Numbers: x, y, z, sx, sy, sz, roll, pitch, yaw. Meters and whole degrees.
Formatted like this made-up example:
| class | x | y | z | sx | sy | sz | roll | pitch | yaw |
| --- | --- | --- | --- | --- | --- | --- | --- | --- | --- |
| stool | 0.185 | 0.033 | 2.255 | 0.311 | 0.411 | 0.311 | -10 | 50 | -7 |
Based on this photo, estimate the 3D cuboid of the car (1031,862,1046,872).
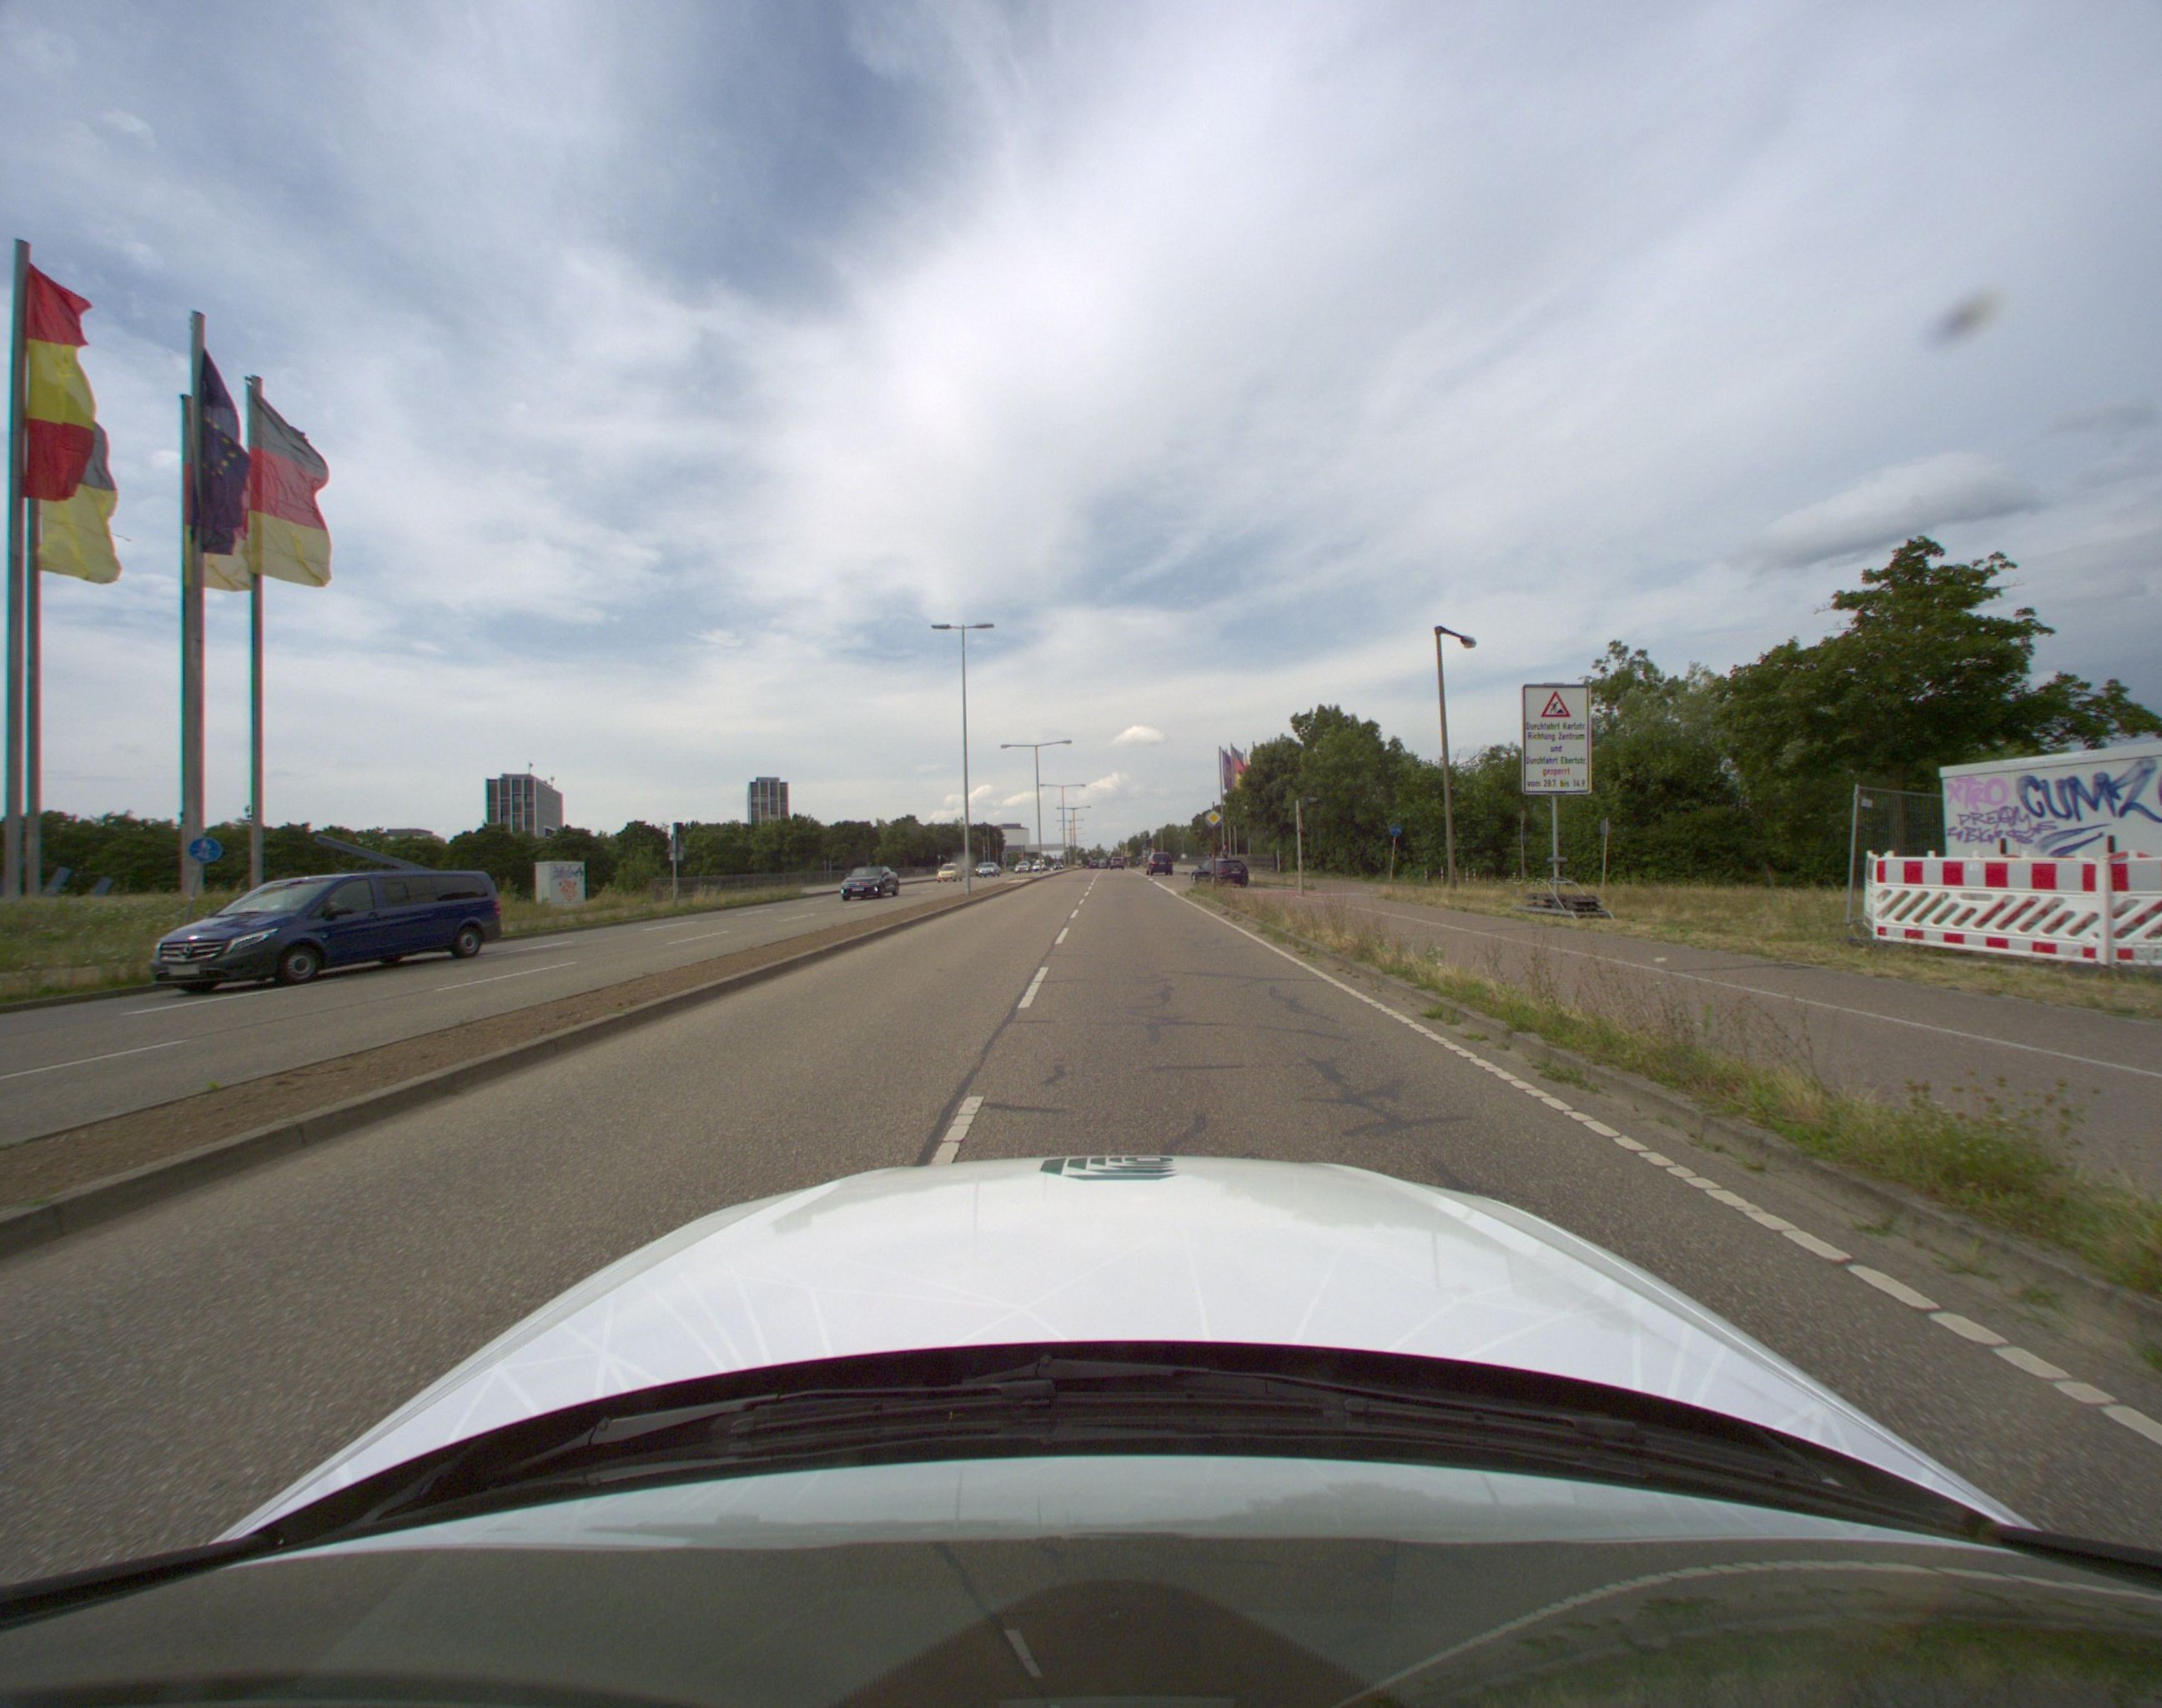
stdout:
| class | x | y | z | sx | sy | sz | roll | pitch | yaw |
| --- | --- | --- | --- | --- | --- | --- | --- | --- | --- |
| car | -7.055 | 2.176 | 135.551 | 1.730 | 1.480 | 4.476 | -3 | -1 | 4 |

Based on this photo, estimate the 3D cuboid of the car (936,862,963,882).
| class | x | y | z | sx | sy | sz | roll | pitch | yaw |
| --- | --- | --- | --- | --- | --- | --- | --- | --- | --- |
| car | -11.346 | 1.515 | 70.327 | 1.543 | 1.578 | 3.692 | -3 | 0 | 1 |

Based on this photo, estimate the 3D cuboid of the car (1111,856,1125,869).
| class | x | y | z | sx | sy | sz | roll | pitch | yaw |
| --- | --- | --- | --- | --- | --- | --- | --- | --- | --- |
| car | 4.822 | 1.179 | 107.035 | 1.725 | 1.653 | 4.114 | -1 | -1 | 1 |

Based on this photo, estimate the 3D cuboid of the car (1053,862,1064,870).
| class | x | y | z | sx | sy | sz | roll | pitch | yaw |
| --- | --- | --- | --- | --- | --- | --- | --- | --- | --- |
| car | -4.386 | 2.402 | 159.221 | 1.732 | 1.481 | 4.777 | -3 | -1 | 1 |

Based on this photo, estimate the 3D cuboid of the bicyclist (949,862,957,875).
| class | x | y | z | sx | sy | sz | roll | pitch | yaw |
| --- | --- | --- | --- | --- | --- | --- | --- | --- | --- |
| bicyclist | -15.689 | 1.737 | 99.694 | 0.792 | 1.626 | 0.976 | -1 | -1 | -1 |

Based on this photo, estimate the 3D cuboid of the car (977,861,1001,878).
| class | x | y | z | sx | sy | sz | roll | pitch | yaw |
| --- | --- | --- | --- | --- | --- | --- | --- | --- | --- |
| car | -9.520 | 1.566 | 84.221 | 1.642 | 1.515 | 4.021 | -3 | 0 | 5 |

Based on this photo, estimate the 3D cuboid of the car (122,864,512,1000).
| class | x | y | z | sx | sy | sz | roll | pitch | yaw |
| --- | --- | --- | --- | --- | --- | --- | --- | --- | --- |
| car | -13.735 | 1.241 | 15.333 | 1.840 | 1.893 | 5.508 | -4 | 0 | 3 |

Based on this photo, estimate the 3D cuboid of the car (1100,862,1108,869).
| class | x | y | z | sx | sy | sz | roll | pitch | yaw |
| --- | --- | --- | --- | --- | --- | --- | --- | --- | --- |
| car | 5.311 | 2.601 | 189.142 | 1.724 | 1.526 | 4.115 | -1 | -1 | 1 |

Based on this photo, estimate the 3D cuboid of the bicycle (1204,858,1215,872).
| class | x | y | z | sx | sy | sz | roll | pitch | yaw |
| --- | --- | --- | --- | --- | --- | --- | --- | --- | --- |
| bicycle | 10.531 | 0.882 | 66.709 | 0.575 | 1.022 | 1.976 | -4 | 1 | 1 |

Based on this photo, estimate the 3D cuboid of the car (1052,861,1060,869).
| class | x | y | z | sx | sy | sz | roll | pitch | yaw |
| --- | --- | --- | --- | --- | --- | --- | --- | --- | --- |
| car | -6.353 | 2.730 | 204.813 | 1.534 | 1.871 | 3.572 | -3 | 0 | 2 |

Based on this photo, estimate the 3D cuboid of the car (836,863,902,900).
| class | x | y | z | sx | sy | sz | roll | pitch | yaw |
| --- | --- | --- | --- | --- | --- | --- | --- | --- | --- |
| car | -9.620 | 1.227 | 37.311 | 1.757 | 1.440 | 4.178 | -3 | 0 | 1 |

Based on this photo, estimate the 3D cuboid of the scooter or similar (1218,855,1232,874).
| class | x | y | z | sx | sy | sz | roll | pitch | yaw |
| --- | --- | --- | --- | --- | --- | --- | --- | --- | --- |
| scooter or similar | 9.531 | 0.692 | 53.874 | 0.587 | 1.224 | 1.200 | 0 | -1 | -6 |

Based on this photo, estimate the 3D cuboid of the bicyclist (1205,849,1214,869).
| class | x | y | z | sx | sy | sz | roll | pitch | yaw |
| --- | --- | --- | --- | --- | --- | --- | --- | --- | --- |
| bicyclist | 10.527 | 0.417 | 66.633 | 0.662 | 1.659 | 0.805 | -1 | 0 | 1 |

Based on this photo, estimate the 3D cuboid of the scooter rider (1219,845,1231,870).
| class | x | y | z | sx | sy | sz | roll | pitch | yaw |
| --- | --- | --- | --- | --- | --- | --- | --- | --- | --- |
| scooter rider | 9.536 | 0.236 | 53.815 | 0.586 | 1.690 | 0.742 | 0 | -1 | -6 |

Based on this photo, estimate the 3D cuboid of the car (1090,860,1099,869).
| class | x | y | z | sx | sy | sz | roll | pitch | yaw |
| --- | --- | --- | --- | --- | --- | --- | --- | --- | --- |
| car | 2.540 | 1.919 | 152.435 | 1.724 | 1.653 | 4.116 | -1 | -1 | 2 |

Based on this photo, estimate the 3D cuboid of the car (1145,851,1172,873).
| class | x | y | z | sx | sy | sz | roll | pitch | yaw |
| --- | --- | --- | --- | --- | --- | --- | --- | --- | --- |
| car | 5.988 | 0.643 | 63.333 | 1.725 | 1.653 | 4.113 | -1 | -1 | 0 |

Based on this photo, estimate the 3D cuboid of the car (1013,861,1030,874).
| class | x | y | z | sx | sy | sz | roll | pitch | yaw |
| --- | --- | --- | --- | --- | --- | --- | --- | --- | --- |
| car | -8.597 | 1.939 | 118.367 | 1.855 | 1.725 | 4.773 | -3 | -1 | 2 |

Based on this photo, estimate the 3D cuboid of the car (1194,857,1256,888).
| class | x | y | z | sx | sy | sz | roll | pitch | yaw |
| --- | --- | --- | --- | --- | --- | --- | --- | --- | --- |
| car | 7.250 | 0.906 | 41.401 | 1.731 | 1.395 | 4.100 | -2 | 0 | -10 |
